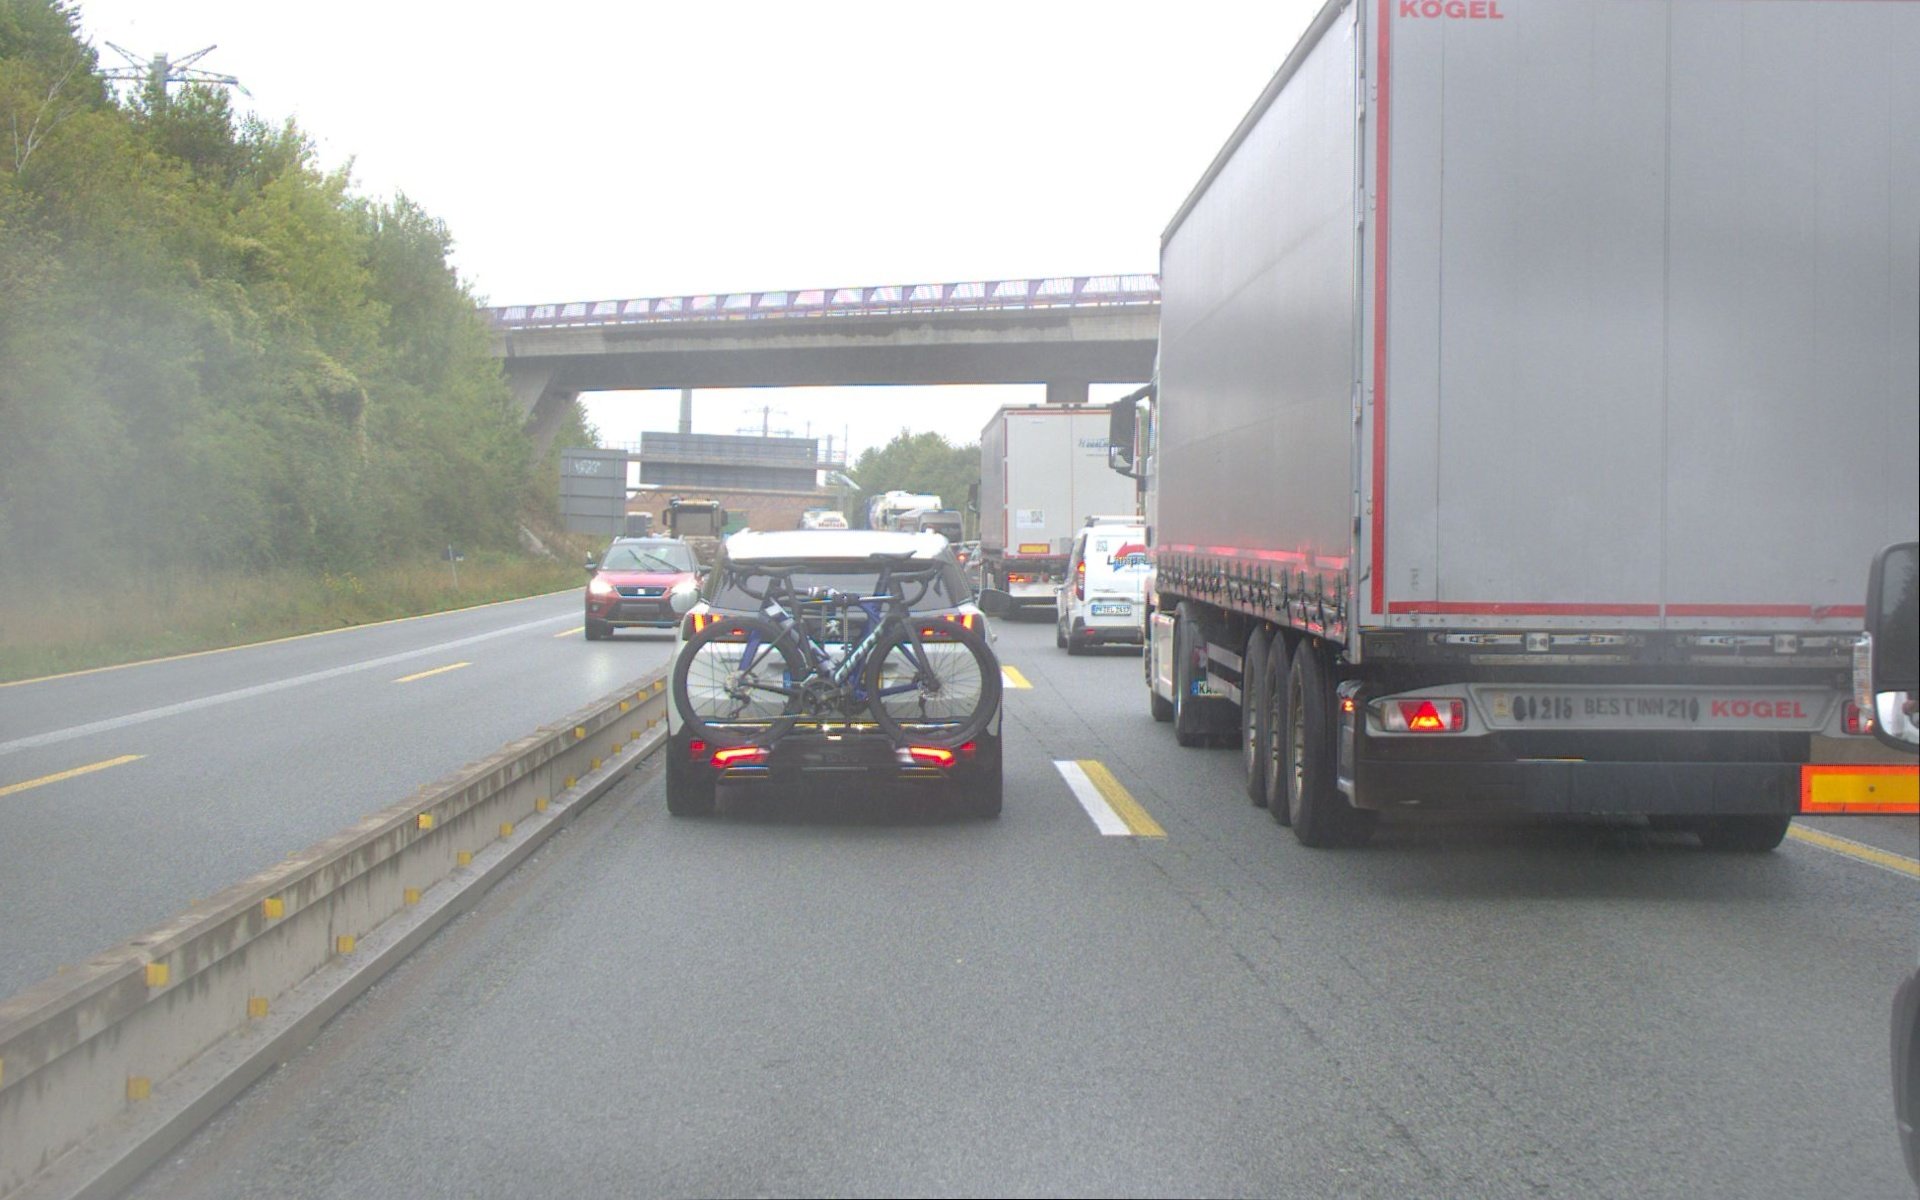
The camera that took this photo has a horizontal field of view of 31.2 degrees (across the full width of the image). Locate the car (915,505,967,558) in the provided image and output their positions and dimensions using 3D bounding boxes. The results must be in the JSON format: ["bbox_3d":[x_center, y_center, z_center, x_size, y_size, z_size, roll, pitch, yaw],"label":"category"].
[{"bbox_3d":[-0.764,-2.662,134.773,1.993,2.007,4.000,1,1,0],"label":"car"}]

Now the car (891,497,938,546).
[{"bbox_3d":[-1.943,-3.365,148.060,1.993,2.007,4.000,1,1,0],"label":"car"}]

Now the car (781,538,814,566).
[{"bbox_3d":[-8.418,-2.499,178.587,1.686,1.404,3.930,1,1,-2],"label":"car"}]

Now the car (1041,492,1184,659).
[{"bbox_3d":[2.059,-0.350,47.483,1.670,2.173,4.535,1,1,-1],"label":"car"}]

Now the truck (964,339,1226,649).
[{"bbox_3d":[2.568,-2.062,73.250,4.743,5.654,20.376,1,1,0],"label":"truck"}]

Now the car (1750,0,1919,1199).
[{"bbox_3d":[2.671,0.066,3.943,2.144,2.667,6.117,1,1,1],"label":"car"}]

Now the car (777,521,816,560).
[{"bbox_3d":[-7.793,-2.811,163.836,1.810,1.817,4.636,1,1,-2],"label":"car"}]

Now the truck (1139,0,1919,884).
[{"bbox_3d":[3.699,-1.819,23.804,3.979,5.654,20.376,1,1,0],"label":"truck"}]

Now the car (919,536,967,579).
[{"bbox_3d":[-0.602,-1.489,120.548,1.638,1.492,3.666,1,1,0],"label":"car"}]

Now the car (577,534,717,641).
[{"bbox_3d":[-4.714,-0.205,52.256,1.794,1.550,4.000,1,1,-1],"label":"car"}]

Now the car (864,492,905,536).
[{"bbox_3d":[-3.791,-4.325,173.637,1.993,2.119,4.527,1,1,0],"label":"car"}]

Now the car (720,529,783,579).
[{"bbox_3d":[-7.001,-1.538,115.622,1.810,1.627,4.118,1,1,1],"label":"car"}]

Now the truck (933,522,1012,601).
[{"bbox_3d":[0.295,-1.013,90.020,1.993,2.007,4.000,1,1,-1],"label":"truck"}]

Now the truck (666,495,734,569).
[{"bbox_3d":[-12.180,-3.155,161.862,2.535,3.341,12.051,1,1,-1],"label":"truck"}]

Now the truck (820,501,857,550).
[{"bbox_3d":[-8.696,-5.282,246.595,2.535,3.341,12.051,1,1,-1],"label":"truck"}]

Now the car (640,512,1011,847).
[{"bbox_3d":[-0.641,0.364,19.234,1.810,1.632,4.635,1,1,1],"label":"car"}]

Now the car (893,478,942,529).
[{"bbox_3d":[-1.987,-4.494,160.907,2.239,2.299,4.572,1,1,0],"label":"car"}]
